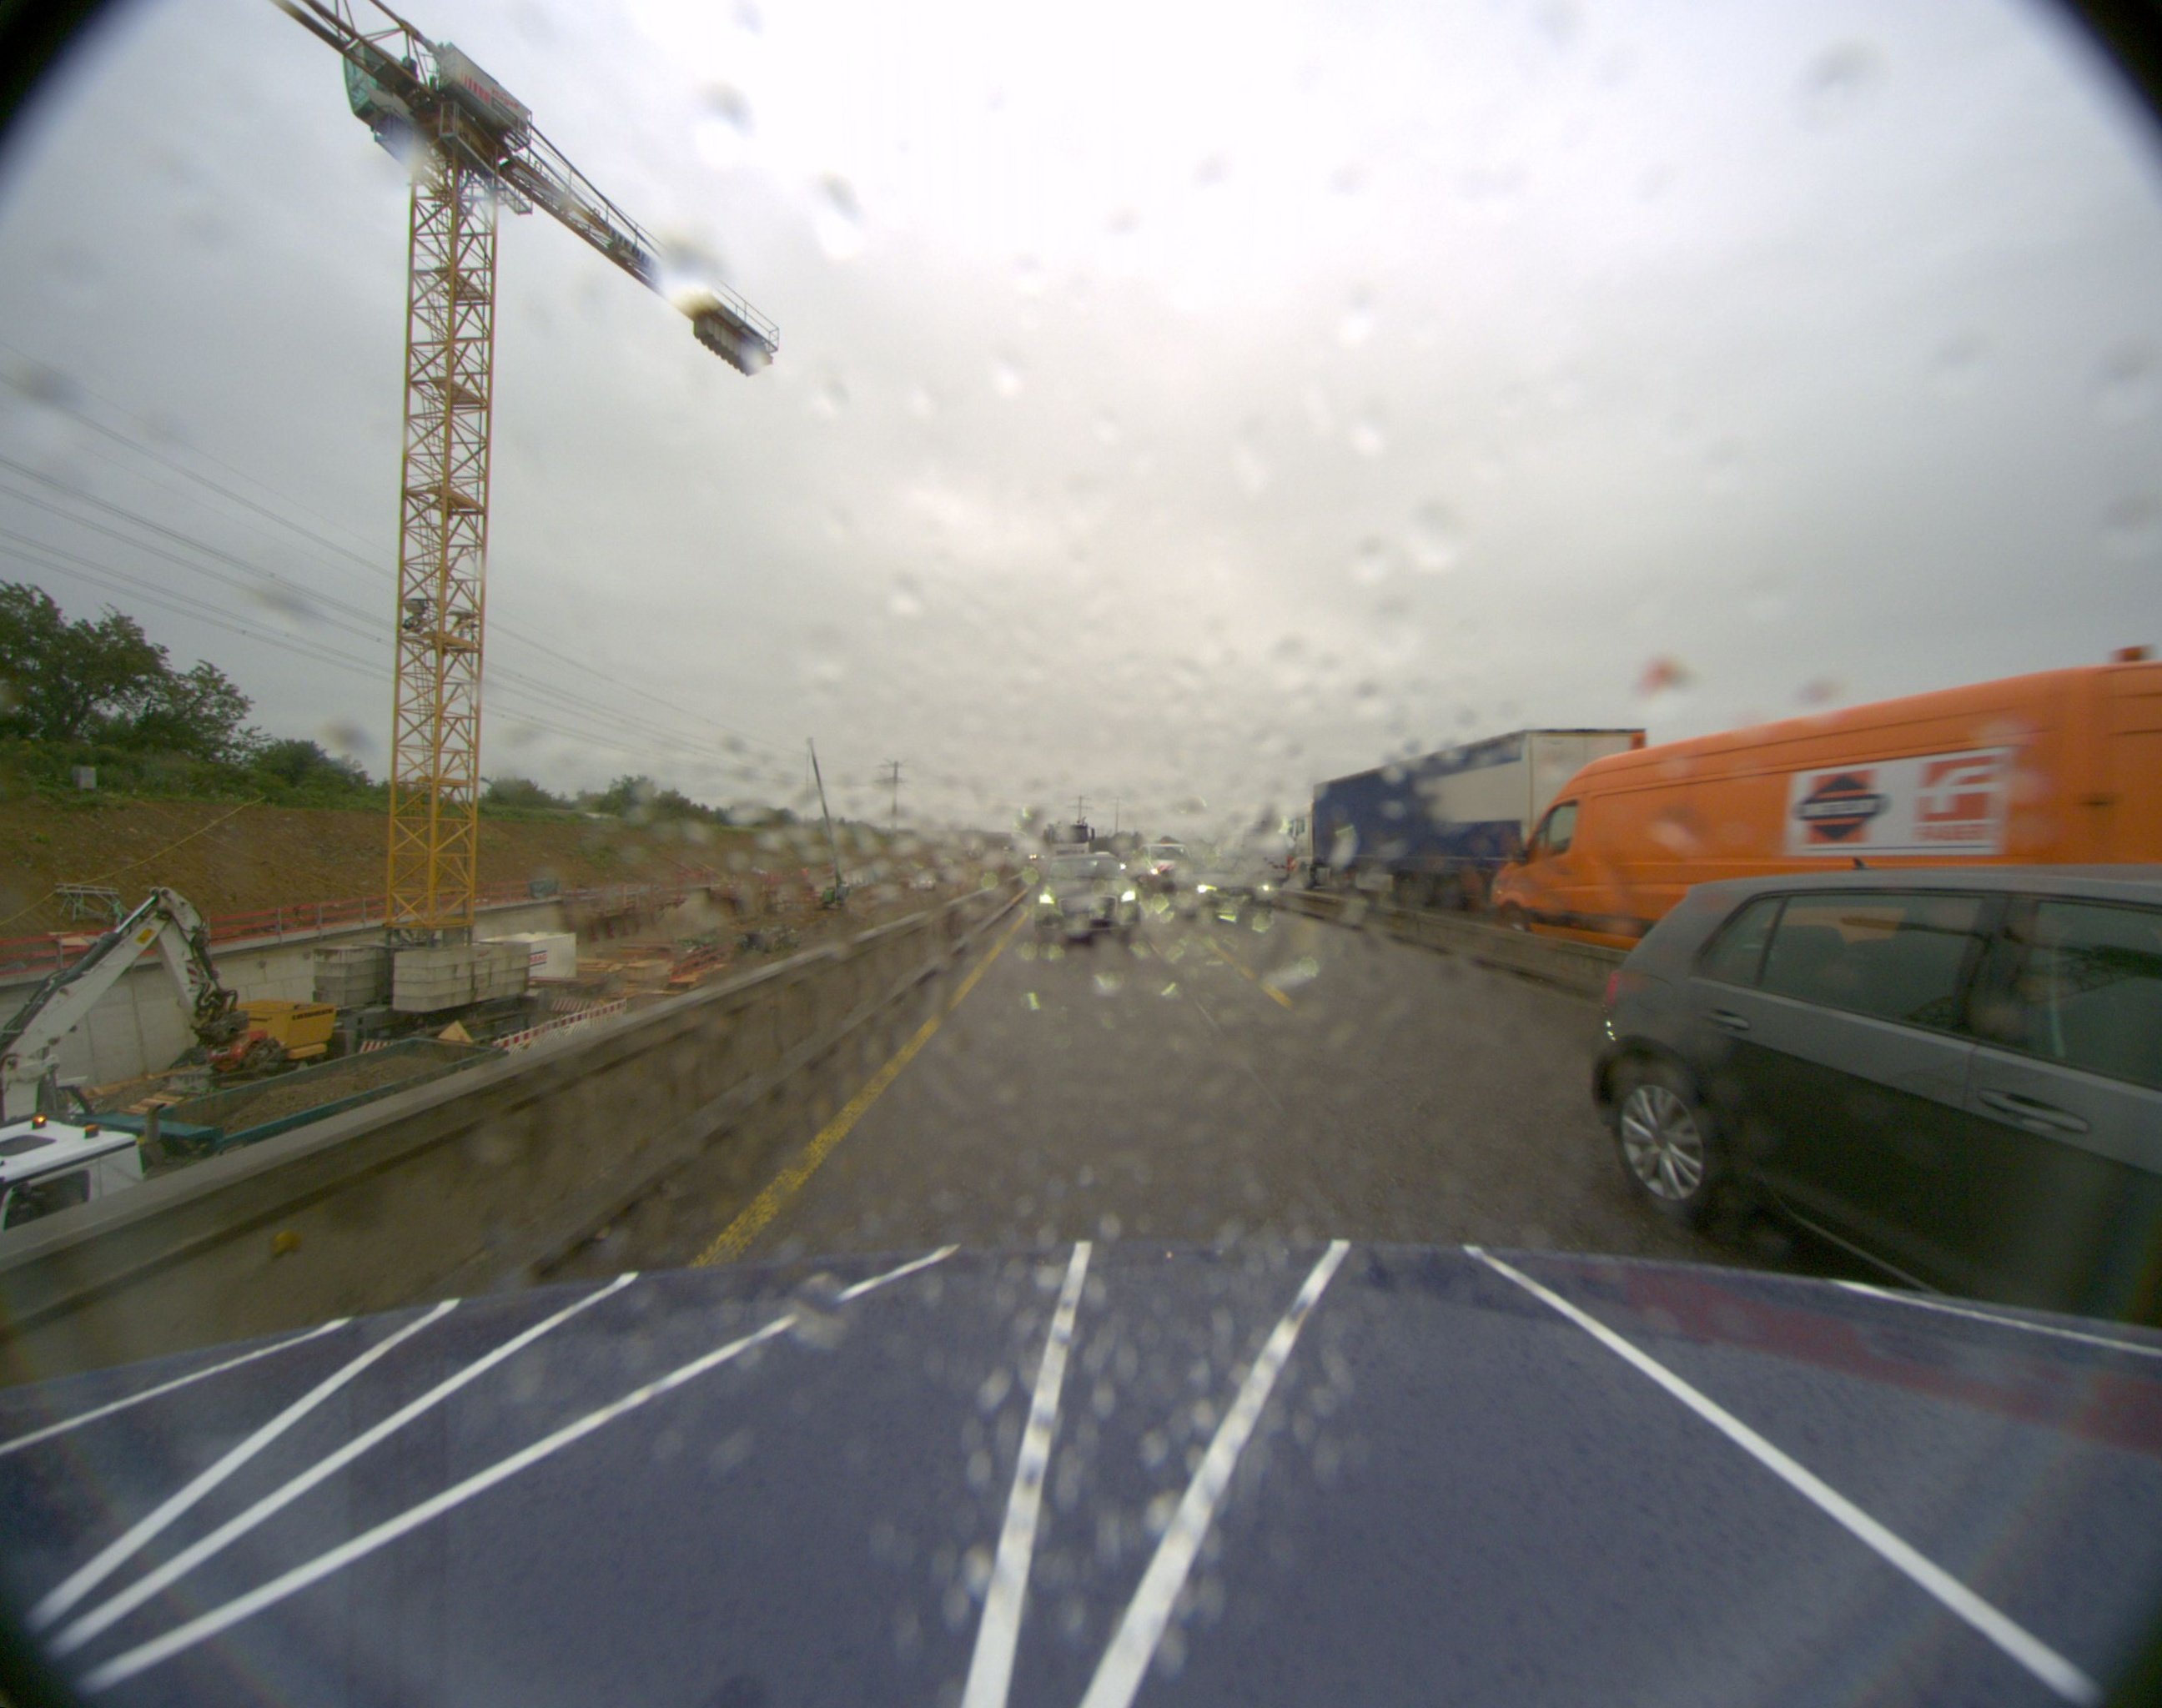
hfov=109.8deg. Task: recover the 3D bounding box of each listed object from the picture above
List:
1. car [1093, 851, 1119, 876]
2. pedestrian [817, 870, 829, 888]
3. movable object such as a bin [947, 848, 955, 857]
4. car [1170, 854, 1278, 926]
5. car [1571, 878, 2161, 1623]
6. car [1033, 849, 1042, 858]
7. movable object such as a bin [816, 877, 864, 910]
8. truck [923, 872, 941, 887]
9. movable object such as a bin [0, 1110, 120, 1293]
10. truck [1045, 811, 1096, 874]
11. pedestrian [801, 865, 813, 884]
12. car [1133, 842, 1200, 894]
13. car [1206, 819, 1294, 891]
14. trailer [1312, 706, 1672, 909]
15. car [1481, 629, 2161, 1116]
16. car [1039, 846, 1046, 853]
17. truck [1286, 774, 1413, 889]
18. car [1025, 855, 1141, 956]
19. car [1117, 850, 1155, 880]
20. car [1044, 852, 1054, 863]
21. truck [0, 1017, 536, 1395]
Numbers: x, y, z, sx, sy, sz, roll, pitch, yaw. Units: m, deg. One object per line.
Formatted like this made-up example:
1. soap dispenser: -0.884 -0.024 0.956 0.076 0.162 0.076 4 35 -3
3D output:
1. car: 2.050 0.768 63.273 1.800 1.851 4.285 -2 1 -2
2. pedestrian: -33.371 3.249 98.284 0.917 2.219 1.005 -6 3 0
3. movable object such as a bin: -39.554 -0.377 230.931 2.253 2.704 3.996 -2 1 -7
4. car: 3.283 0.755 18.211 1.799 1.389 4.268 -2 1 1
5. car: 3.056 0.875 1.443 1.653 1.414 4.080 -1 1 1
6. car: -9.474 -0.194 166.780 1.800 1.851 4.285 -2 1 -1
7. movable object such as a bin: -25.620 4.186 81.010 3.803 2.791 4.847 -1 6 -5
8. truck: -20.951 3.572 106.774 1.767 1.860 5.783 0 1 -4
9. movable object such as a bin: -21.081 6.590 13.863 3.157 2.722 2.968 -2 1 0
10. truck: -0.756 -0.757 48.647 2.837 3.617 9.117 -2 1 -2
11. pedestrian: -34.111 2.536 94.506 0.918 2.234 1.005 -6 3 -7
12. car: 3.390 0.496 31.177 2.161 1.848 5.178 -2 1 1
13. car: 6.945 0.042 32.055 2.011 2.638 6.883 -2 0 -1
14. trailer: 10.358 -0.902 22.126 2.787 4.011 13.739 -2 0 -1
15. car: 6.750 0.066 7.372 2.059 2.562 7.020 -2 0 1
16. car: -10.856 -1.187 215.034 1.800 1.851 4.285 -2 1 -1
17. truck: 10.270 -0.786 29.785 2.795 4.011 5.819 -2 0 0
18. car: 0.056 0.827 14.281 1.799 1.524 4.307 -2 1 1
19. car: 3.083 0.612 43.340 1.800 1.521 4.066 -2 1 -1
20. car: -6.168 0.689 145.676 1.800 1.851 4.285 -2 1 -2
21. truck: -16.349 6.118 15.393 2.704 3.483 8.954 -1 1 12
